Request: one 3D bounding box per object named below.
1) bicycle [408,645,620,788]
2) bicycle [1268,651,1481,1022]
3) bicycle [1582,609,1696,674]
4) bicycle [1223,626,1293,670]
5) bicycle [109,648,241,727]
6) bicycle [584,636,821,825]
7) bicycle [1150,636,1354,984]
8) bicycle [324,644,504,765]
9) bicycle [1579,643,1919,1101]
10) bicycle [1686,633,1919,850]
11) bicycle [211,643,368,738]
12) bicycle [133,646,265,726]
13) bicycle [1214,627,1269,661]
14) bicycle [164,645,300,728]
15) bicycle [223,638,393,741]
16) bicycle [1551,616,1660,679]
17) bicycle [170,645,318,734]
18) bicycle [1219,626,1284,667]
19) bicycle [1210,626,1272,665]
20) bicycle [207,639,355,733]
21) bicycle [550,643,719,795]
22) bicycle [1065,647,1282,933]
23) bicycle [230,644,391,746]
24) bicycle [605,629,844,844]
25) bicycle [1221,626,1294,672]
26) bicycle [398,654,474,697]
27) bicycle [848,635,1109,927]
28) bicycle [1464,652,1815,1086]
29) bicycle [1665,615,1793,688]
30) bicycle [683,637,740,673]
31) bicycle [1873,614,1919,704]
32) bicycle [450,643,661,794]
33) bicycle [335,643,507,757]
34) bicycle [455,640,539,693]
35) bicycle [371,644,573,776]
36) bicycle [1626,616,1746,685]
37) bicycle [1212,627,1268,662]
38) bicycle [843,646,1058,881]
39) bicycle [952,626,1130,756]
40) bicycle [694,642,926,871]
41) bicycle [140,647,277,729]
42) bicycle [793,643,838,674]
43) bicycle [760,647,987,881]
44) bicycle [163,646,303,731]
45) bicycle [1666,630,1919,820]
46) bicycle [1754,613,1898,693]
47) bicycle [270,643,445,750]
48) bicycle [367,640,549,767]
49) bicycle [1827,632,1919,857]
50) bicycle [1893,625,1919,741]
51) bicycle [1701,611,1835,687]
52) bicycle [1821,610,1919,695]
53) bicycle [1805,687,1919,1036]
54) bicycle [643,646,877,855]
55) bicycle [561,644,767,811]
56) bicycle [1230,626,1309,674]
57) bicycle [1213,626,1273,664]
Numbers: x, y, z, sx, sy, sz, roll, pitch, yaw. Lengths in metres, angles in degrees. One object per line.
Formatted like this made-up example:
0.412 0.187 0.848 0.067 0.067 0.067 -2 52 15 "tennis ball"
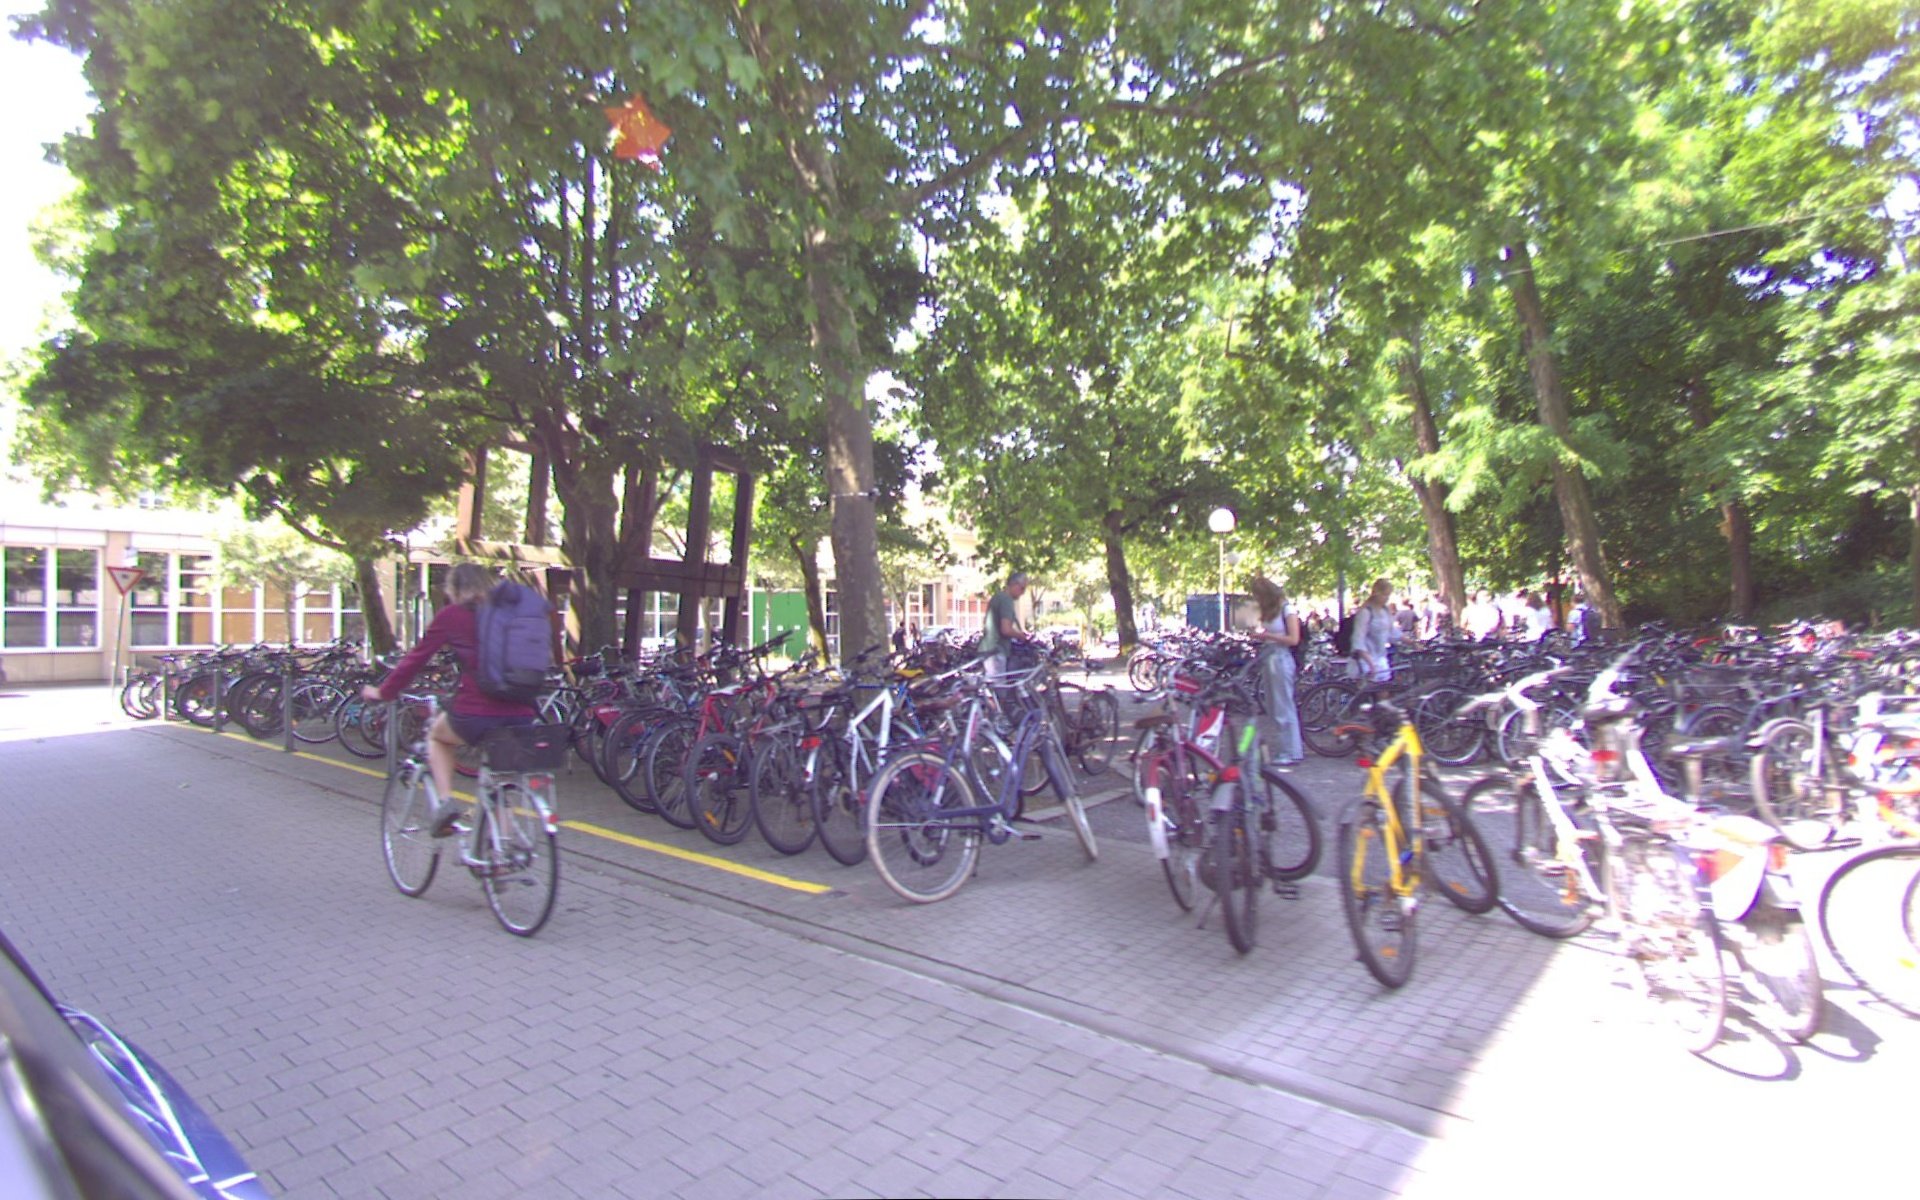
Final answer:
-4.029 1.007 9.252 0.497 1.116 1.717 -2 -1 41 "bicycle"
1.761 0.808 4.152 0.580 1.116 1.682 -1 -1 30 "bicycle"
12.196 0.738 18.195 1.750 1.118 0.518 -1 -1 -7 "bicycle"
7.655 1.235 26.059 1.682 1.092 0.472 -1 -1 13 "bicycle"
-12.418 1.353 16.033 1.605 1.116 0.497 0 -1 -44 "bicycle"
-1.846 0.886 7.477 0.497 1.187 1.717 -2 -1 40 "bicycle"
1.359 0.785 4.495 0.472 1.196 1.682 -1 -1 30 "bicycle"
-5.694 1.056 10.591 1.603 1.116 0.498 -1 -1 -35 "bicycle"
2.755 0.768 3.554 0.469 1.166 1.692 -1 -1 14 "bicycle"
5.026 0.761 5.801 1.670 1.092 0.475 -1 -1 -17 "bicycle"
-8.791 1.152 13.321 0.644 1.116 1.610 -2 -1 36 "bicycle"
-11.862 1.316 15.807 1.605 1.116 0.497 0 -1 -44 "bicycle"
9.227 1.437 33.172 1.682 1.092 0.472 -1 -1 13 "bicycle"
-10.900 1.273 15.189 1.605 1.116 0.506 0 -1 -44 "bicycle"
-8.285 1.097 12.938 0.496 1.170 1.763 -2 -1 36 "bicycle"
12.085 0.878 18.957 1.750 1.118 0.518 -1 -1 -7 "bicycle"
-10.051 1.220 14.234 1.605 1.116 0.691 0 -1 -44 "bicycle"
8.079 1.288 28.070 1.682 1.092 0.472 -1 -1 13 "bicycle"
8.192 1.334 29.561 1.682 1.092 0.472 -1 -1 13 "bicycle"
-9.301 1.141 13.906 0.497 1.159 1.607 -2 -1 41 "bicycle"
-2.759 0.968 8.779 0.493 1.116 1.731 -1 -1 17 "bicycle"
1.133 0.829 5.076 0.563 1.116 1.682 -1 -1 30 "bicycle"
-7.994 1.139 12.514 0.496 1.116 1.610 -2 -1 36 "bicycle"
-1.553 0.848 6.960 0.495 1.245 1.721 -2 -1 34 "bicycle"
7.369 1.207 25.089 1.682 1.092 0.472 -1 -1 13 "bicycle"
-14.870 2.117 28.733 0.605 1.116 1.804 0 -1 43 "bicycle"
0.167 0.810 5.229 0.535 1.207 1.681 -2 -1 33 "bicycle"
2.308 0.786 3.667 0.469 1.116 1.692 -1 -1 14 "bicycle"
12.494 0.825 16.454 1.750 1.118 0.518 -1 -1 -7 "bicycle"
-8.769 1.917 35.761 0.675 1.149 1.860 0 1 42 "bicycle"
12.875 0.733 13.093 1.750 1.118 0.518 -1 -1 -7 "bicycle"
-3.507 0.980 8.908 0.496 1.135 1.719 -2 -1 36 "bicycle"
-5.918 1.064 11.151 1.603 1.116 0.564 -1 -1 -35 "bicycle"
-10.694 1.525 23.450 0.392 1.116 1.818 -2 -1 34 "bicycle"
-4.705 1.023 9.804 1.711 1.116 0.576 -1 -1 -30 "bicycle"
12.387 0.844 17.280 1.750 1.118 0.518 -1 -1 -7 "bicycle"
9.035 1.422 32.695 1.682 1.092 0.472 -1 -1 13 "bicycle"
0.008 0.860 5.960 0.472 1.116 1.682 -1 -1 30 "bicycle"
0.778 0.880 9.992 1.676 1.209 0.575 -1 -1 2 "bicycle"
-0.855 0.866 6.231 0.472 1.154 1.683 -1 -1 29 "bicycle"
-11.439 1.308 15.435 1.606 1.116 0.630 0 -1 -45 "bicycle"
-5.529 2.223 38.843 0.639 1.116 1.796 0 -1 37 "bicycle"
-0.446 0.875 6.004 0.472 1.116 1.683 -1 -1 29 "bicycle"
-10.564 1.259 14.741 1.605 1.116 0.497 0 -1 -44 "bicycle"
5.443 0.760 6.487 1.671 1.092 0.475 -1 -1 -13 "bicycle"
12.683 0.762 14.835 1.750 1.118 0.518 -1 -1 -7 "bicycle"
-7.142 1.108 12.034 1.699 1.116 0.720 -1 -1 -38 "bicycle"
-5.104 1.017 10.342 1.603 1.152 0.498 -1 -1 -35 "bicycle"
5.518 0.722 5.436 1.670 1.092 0.475 -1 -1 -18 "bicycle"
9.429 0.773 8.946 0.594 1.092 1.703 -1 -1 -9 "bicycle"
12.517 0.746 15.696 1.750 1.118 0.518 -1 -1 -7 "bicycle"
12.927 0.704 13.954 1.750 1.118 0.518 -1 -1 -7 "bicycle"
3.105 0.807 2.655 0.468 1.026 1.696 -1 -1 6 "bicycle"
-1.237 0.893 6.591 0.495 1.116 1.682 -1 -1 30 "bicycle"
-2.284 0.937 8.025 0.495 1.116 1.724 -1 -1 28 "bicycle"
7.295 1.181 23.897 1.679 1.092 0.473 -1 -1 8 "bicycle"
8.562 1.364 30.633 1.682 1.092 0.472 -1 -1 13 "bicycle"
